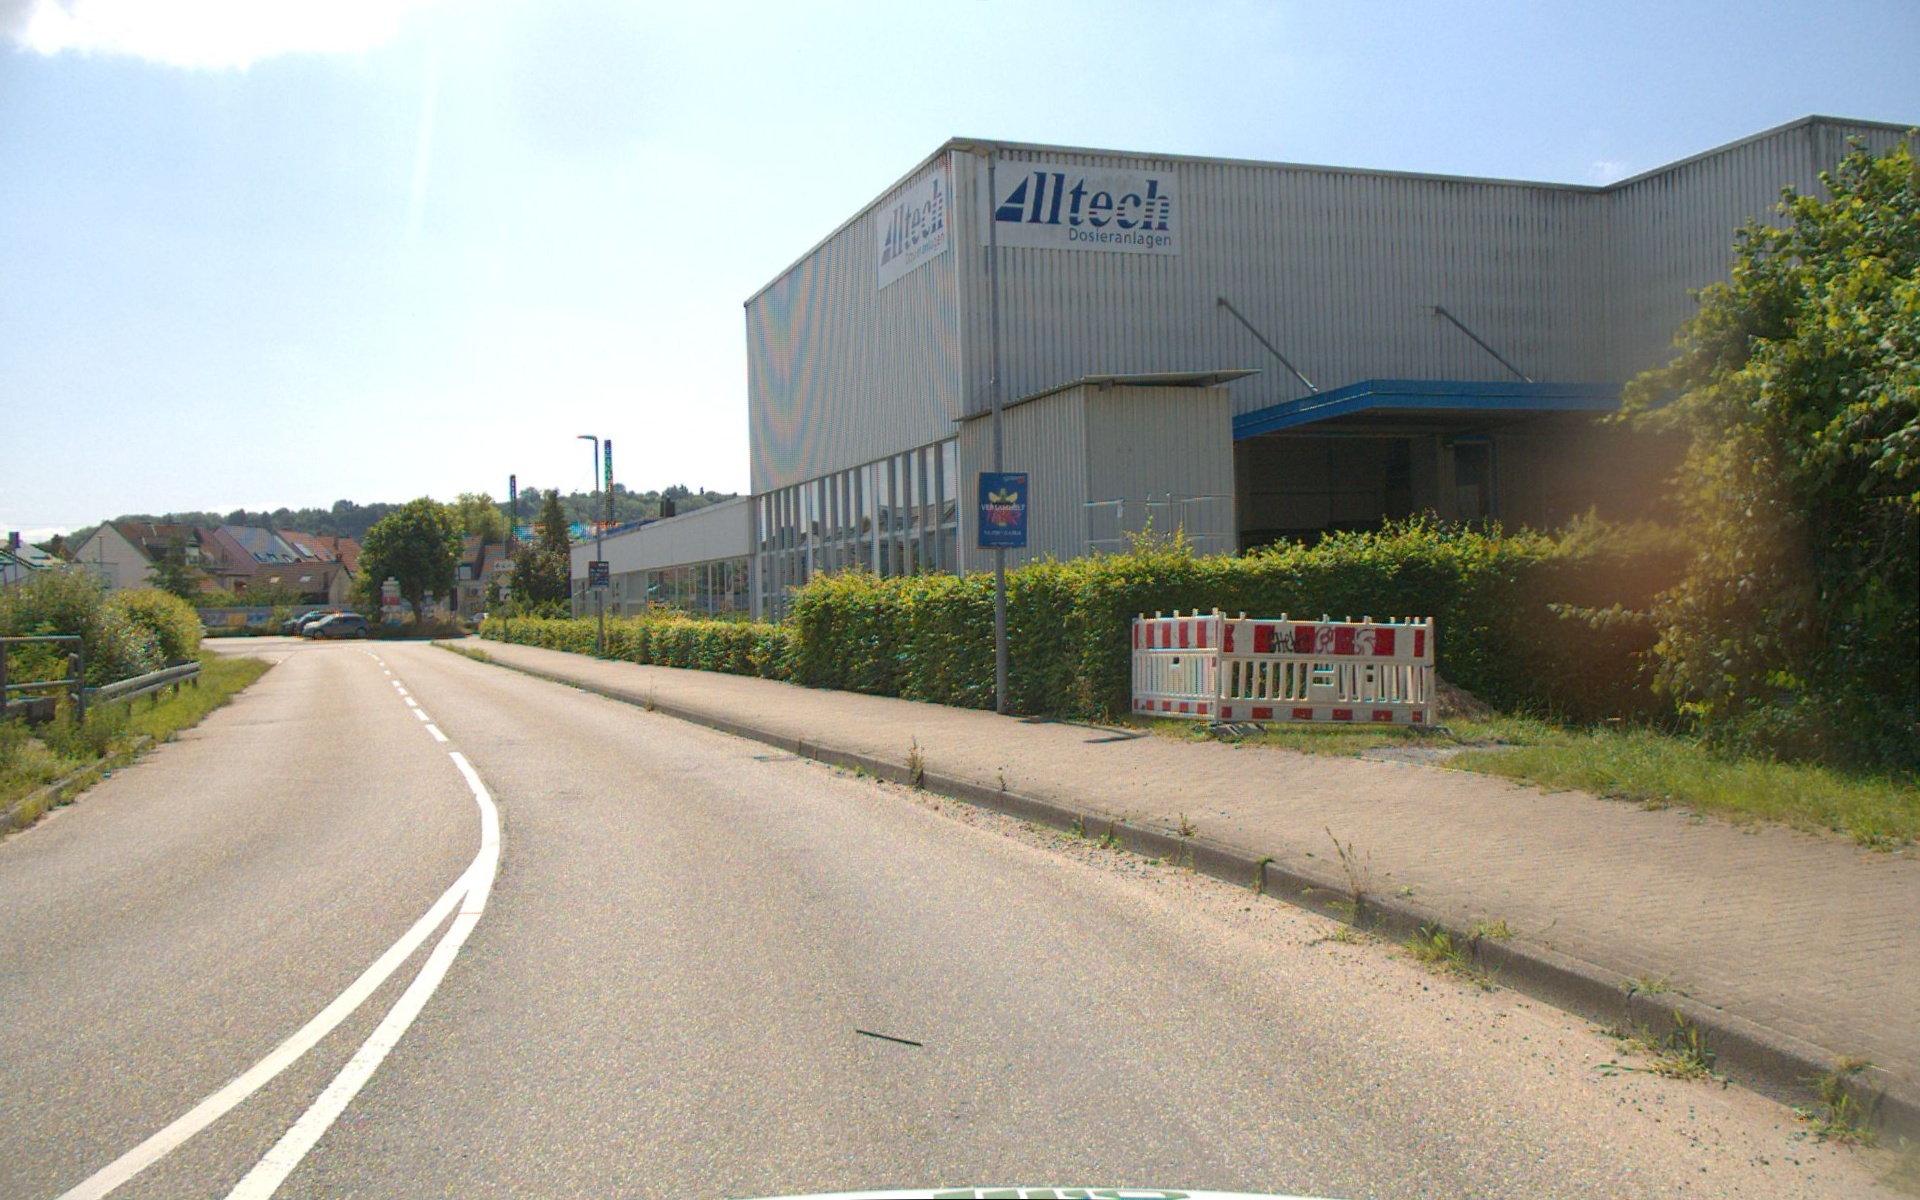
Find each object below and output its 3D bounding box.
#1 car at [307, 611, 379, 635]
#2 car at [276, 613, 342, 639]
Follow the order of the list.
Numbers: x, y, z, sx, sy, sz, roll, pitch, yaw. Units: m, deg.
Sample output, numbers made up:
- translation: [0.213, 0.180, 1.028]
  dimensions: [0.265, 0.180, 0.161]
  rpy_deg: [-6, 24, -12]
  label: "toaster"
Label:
- translation: [-39.888, 1.478, 106.973]
  dimensions: [4.143, 1.488, 1.648]
  rpy_deg: [-1, -1, -30]
  label: "car"
- translation: [-44.494, 1.803, 113.080]
  dimensions: [3.946, 1.760, 1.751]
  rpy_deg: [1, -1, -31]
  label: "car"
